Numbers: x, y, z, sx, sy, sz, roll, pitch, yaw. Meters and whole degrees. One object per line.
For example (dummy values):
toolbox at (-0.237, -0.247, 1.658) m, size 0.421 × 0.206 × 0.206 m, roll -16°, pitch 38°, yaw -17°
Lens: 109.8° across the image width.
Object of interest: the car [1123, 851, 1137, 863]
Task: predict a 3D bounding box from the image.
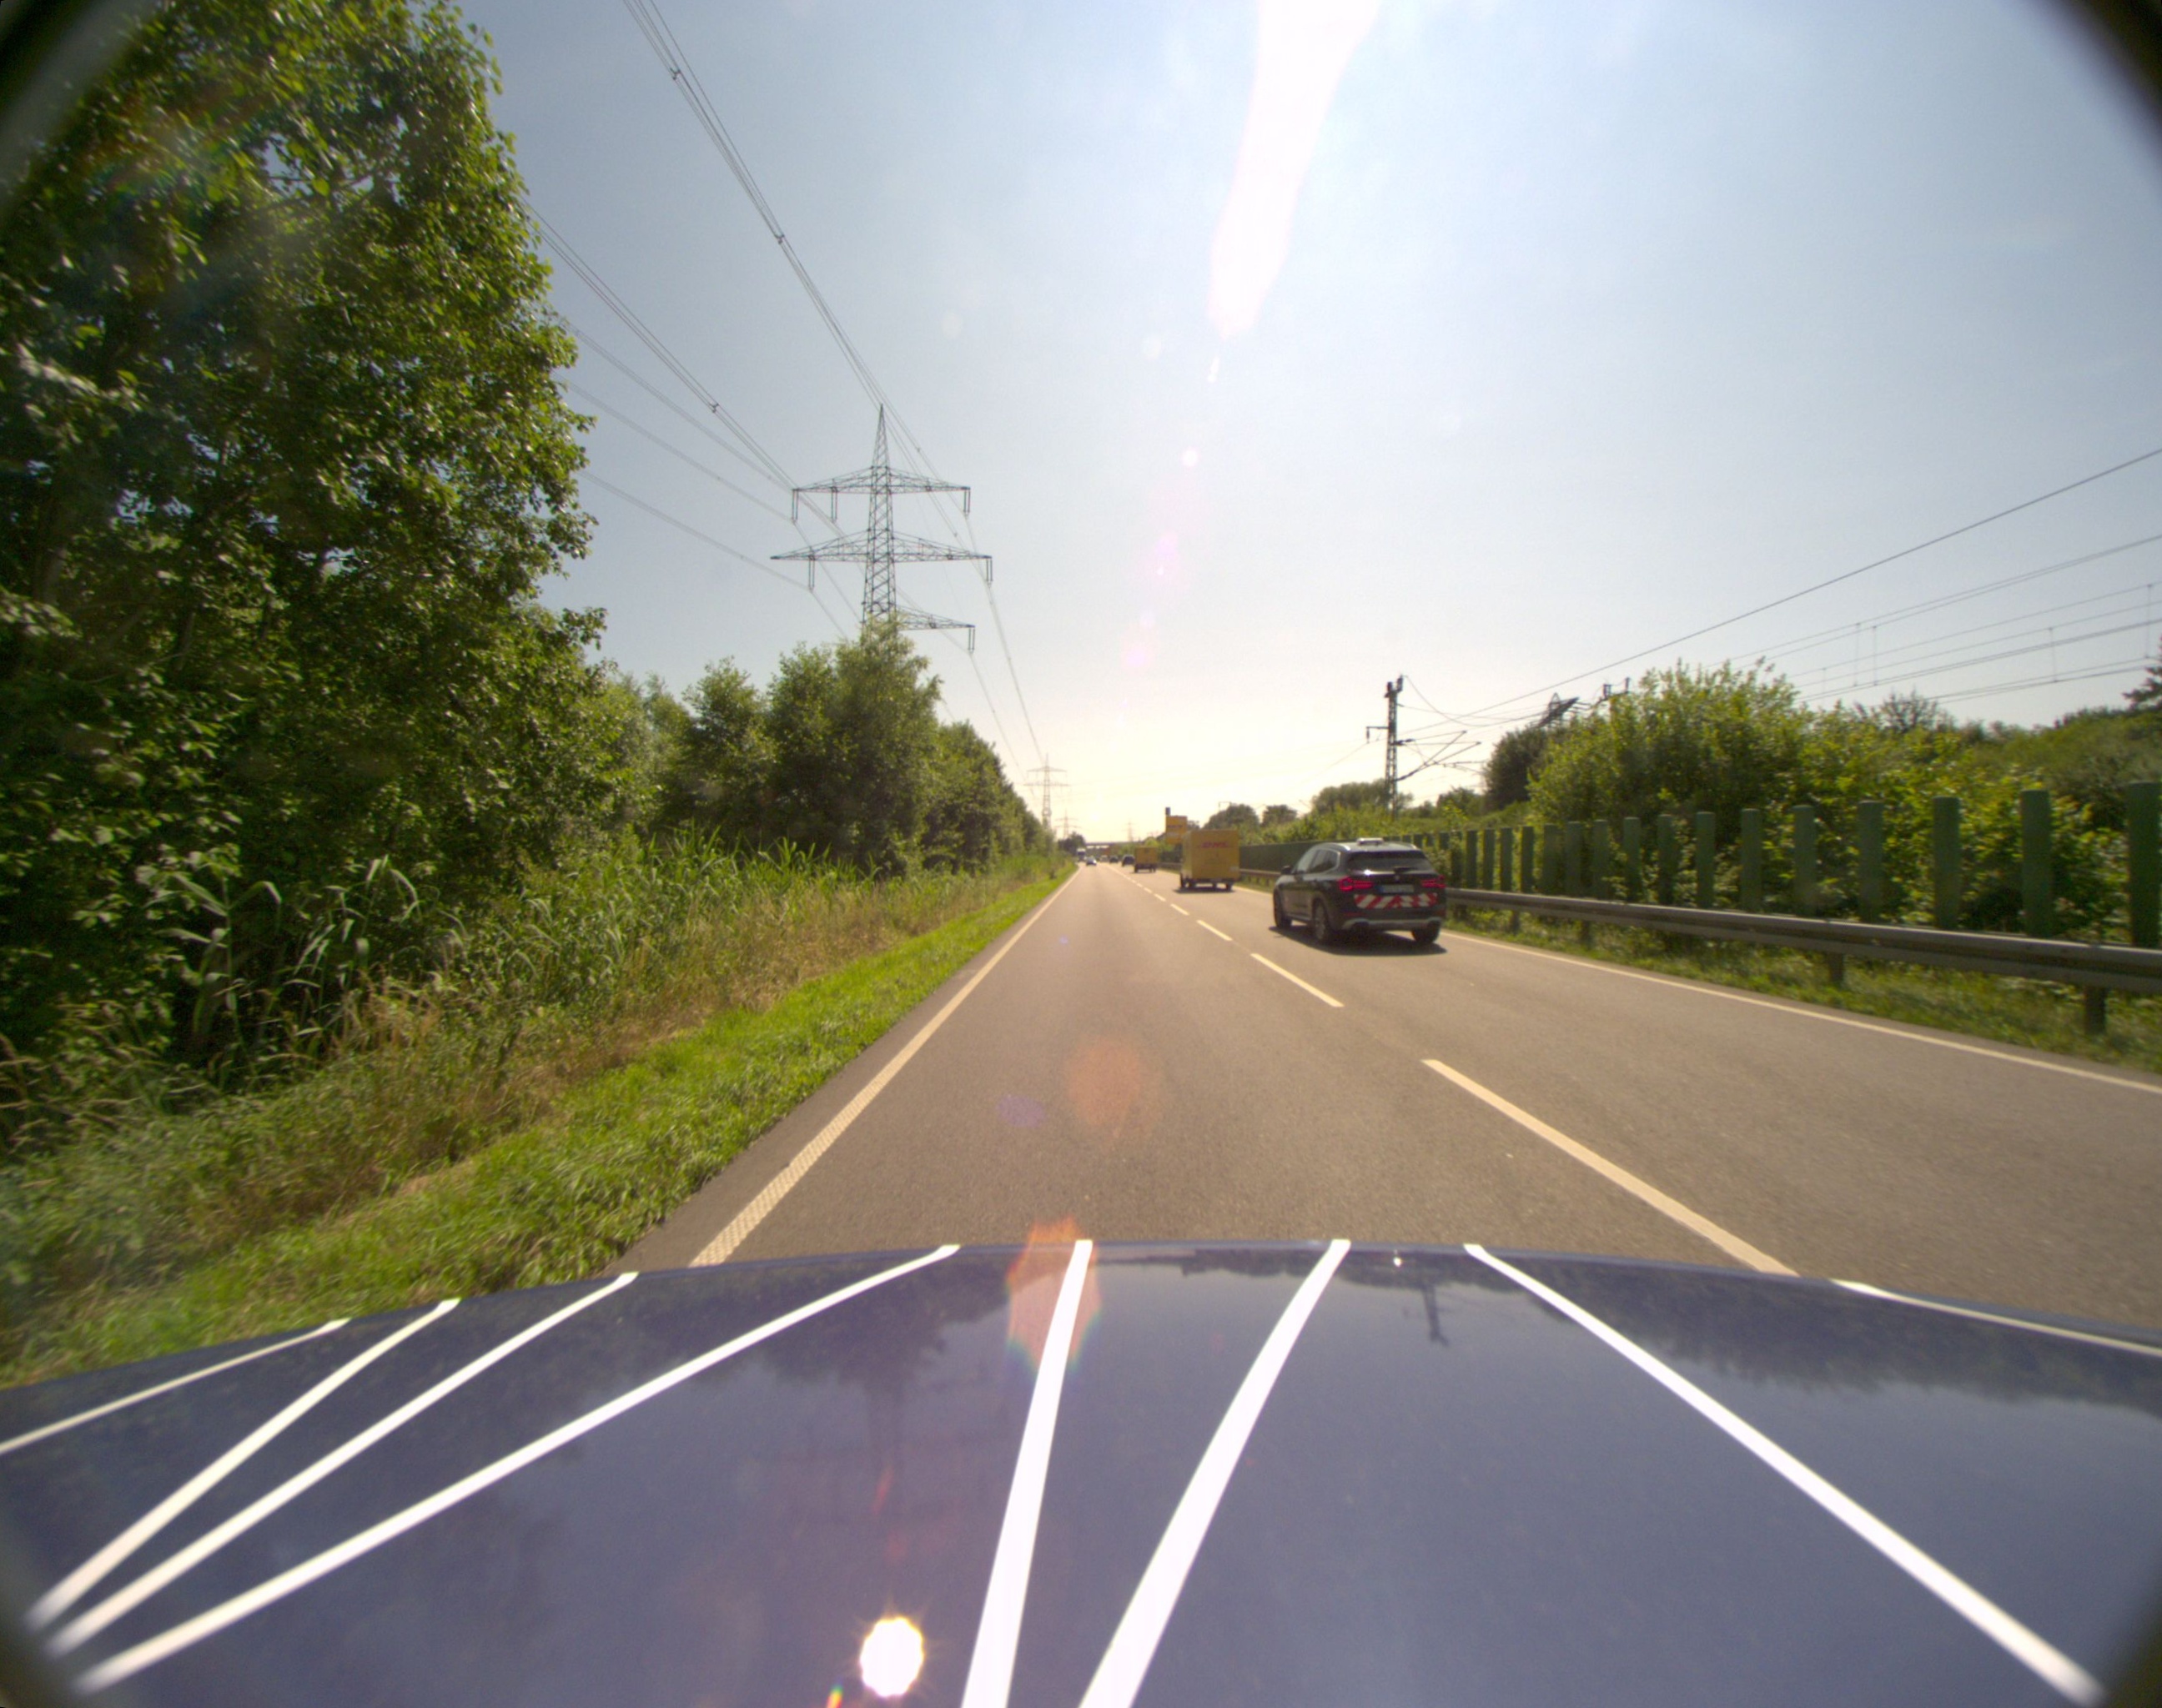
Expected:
car at (6.935, 0.379, 107.616) m, size 1.806 × 1.578 × 4.371 m, roll -1°, pitch 0°, yaw 1°

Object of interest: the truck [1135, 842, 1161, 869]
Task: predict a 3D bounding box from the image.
truck at (6.131, 0.132, 69.879) m, size 1.998 × 2.334 × 6.012 m, roll -1°, pitch 0°, yaw 1°

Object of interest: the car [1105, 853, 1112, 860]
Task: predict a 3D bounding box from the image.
car at (6.599, 0.638, 182.558) m, size 1.829 × 1.596 × 4.323 m, roll -2°, pitch 0°, yaw 2°

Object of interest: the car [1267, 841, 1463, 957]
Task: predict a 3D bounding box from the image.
car at (4.770, 0.658, 13.579) m, size 1.819 × 1.684 × 4.706 m, roll -1°, pitch 0°, yaw 1°

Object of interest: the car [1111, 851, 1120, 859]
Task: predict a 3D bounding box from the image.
car at (6.891, 0.246, 152.541) m, size 1.677 × 1.506 × 4.289 m, roll -1°, pitch 0°, yaw 0°

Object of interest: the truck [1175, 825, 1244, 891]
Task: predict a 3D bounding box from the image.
truck at (5.569, 0.154, 33.734) m, size 2.085 × 2.631 × 5.704 m, roll -1°, pitch 0°, yaw 1°

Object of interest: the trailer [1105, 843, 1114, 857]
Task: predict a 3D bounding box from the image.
trailer at (8.657, -1.227, 233.316) m, size 2.554 × 4.120 × 9.228 m, roll -2°, pitch 0°, yaw 1°

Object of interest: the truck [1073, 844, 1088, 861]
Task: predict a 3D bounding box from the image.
truck at (-0.125, -0.354, 223.163) m, size 4.219 × 4.608 × 21.303 m, roll -2°, pitch 0°, yaw 0°

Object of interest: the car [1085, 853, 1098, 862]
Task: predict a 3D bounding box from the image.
car at (1.626, 0.571, 122.758) m, size 1.998 × 1.346 × 4.157 m, roll -2°, pitch 1°, yaw 0°

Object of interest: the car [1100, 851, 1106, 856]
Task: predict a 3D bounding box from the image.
car at (6.200, -0.140, 211.706) m, size 1.618 × 1.433 × 3.794 m, roll -1°, pitch 0°, yaw 0°
